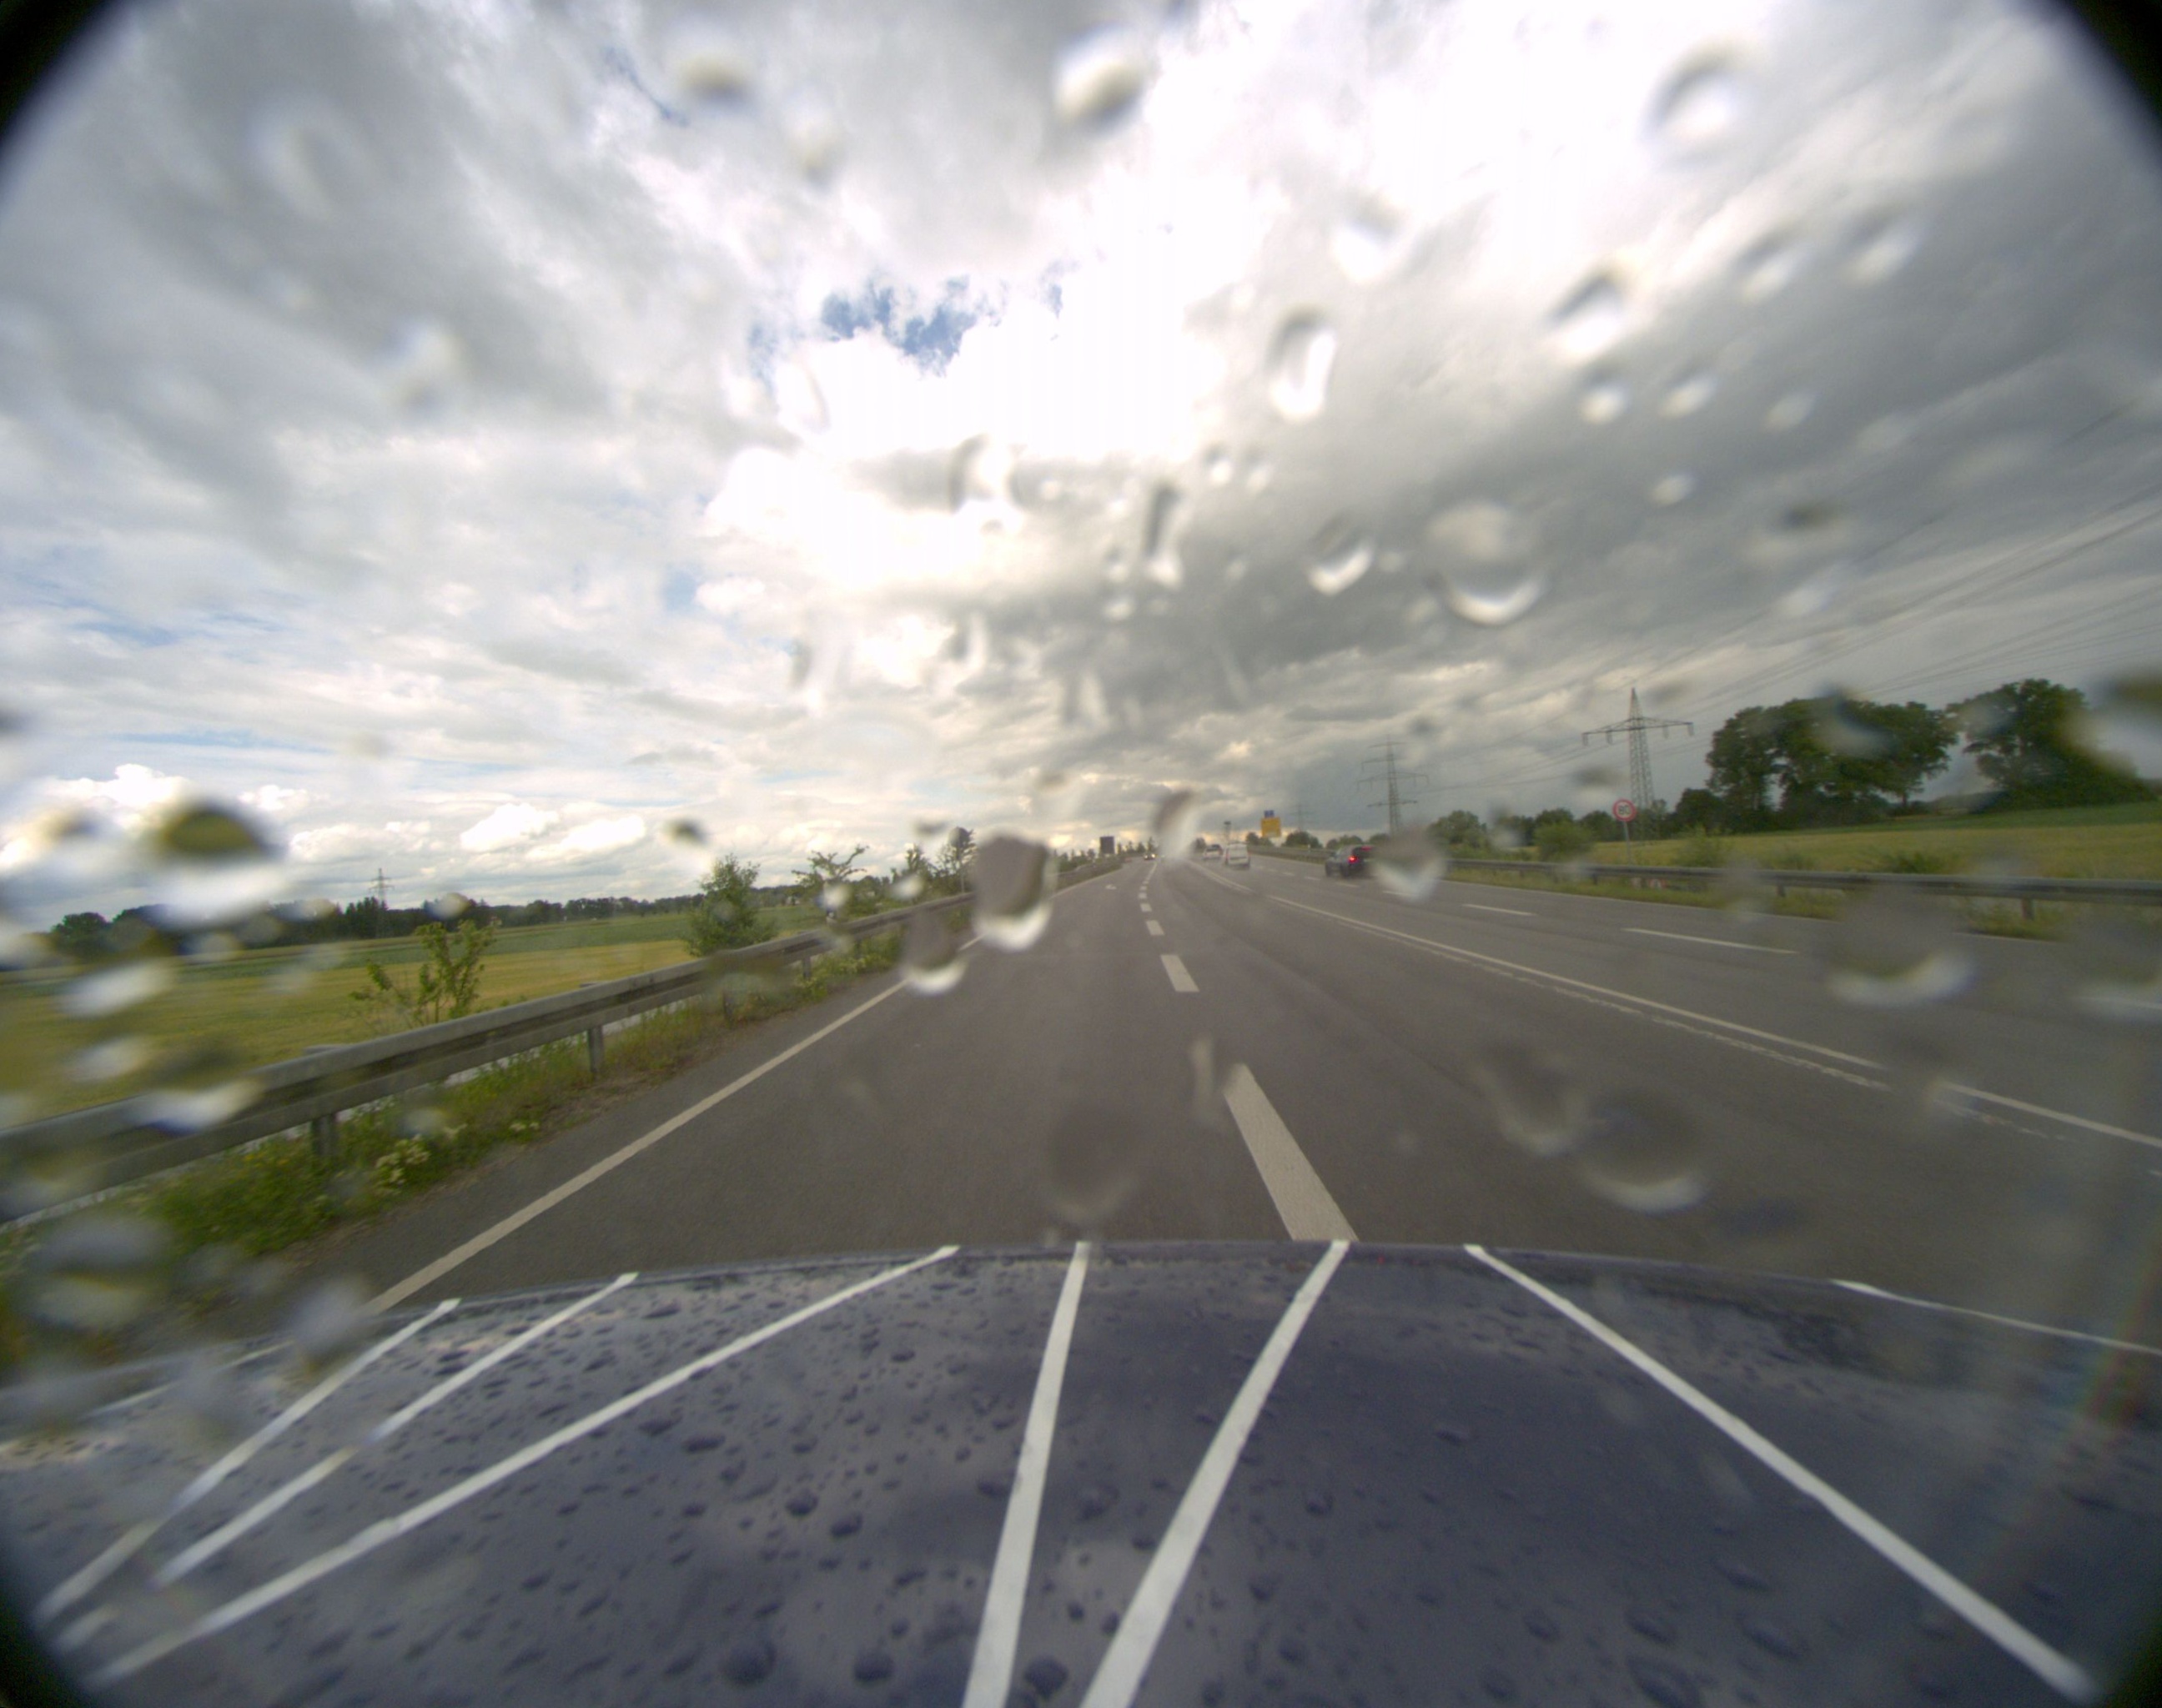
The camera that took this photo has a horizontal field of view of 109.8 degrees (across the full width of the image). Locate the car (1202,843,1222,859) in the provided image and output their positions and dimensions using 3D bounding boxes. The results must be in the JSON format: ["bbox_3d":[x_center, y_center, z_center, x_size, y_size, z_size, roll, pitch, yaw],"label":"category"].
[{"bbox_3d":[13.037,-0.306,75.775,1.770,1.491,4.212,-4,0,7],"label":"car"}]

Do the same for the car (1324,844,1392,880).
[{"bbox_3d":[12.487,0.314,34.521,1.899,1.433,4.903,-2,0,8],"label":"car"}]

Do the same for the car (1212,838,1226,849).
[{"bbox_3d":[20.759,-1.571,114.518,1.774,1.418,4.736,-3,0,7],"label":"car"}]

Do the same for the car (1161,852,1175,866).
[{"bbox_3d":[11.515,0.702,100.410,1.795,1.758,4.003,-4,-2,7],"label":"car"}]

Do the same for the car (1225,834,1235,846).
[{"bbox_3d":[33.710,-3.172,171.945,1.973,2.639,5.462,-6,0,10],"label":"car"}]

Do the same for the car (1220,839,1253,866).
[{"bbox_3d":[10.839,-0.118,53.306,1.794,1.656,4.371,-5,1,7],"label":"car"}]
